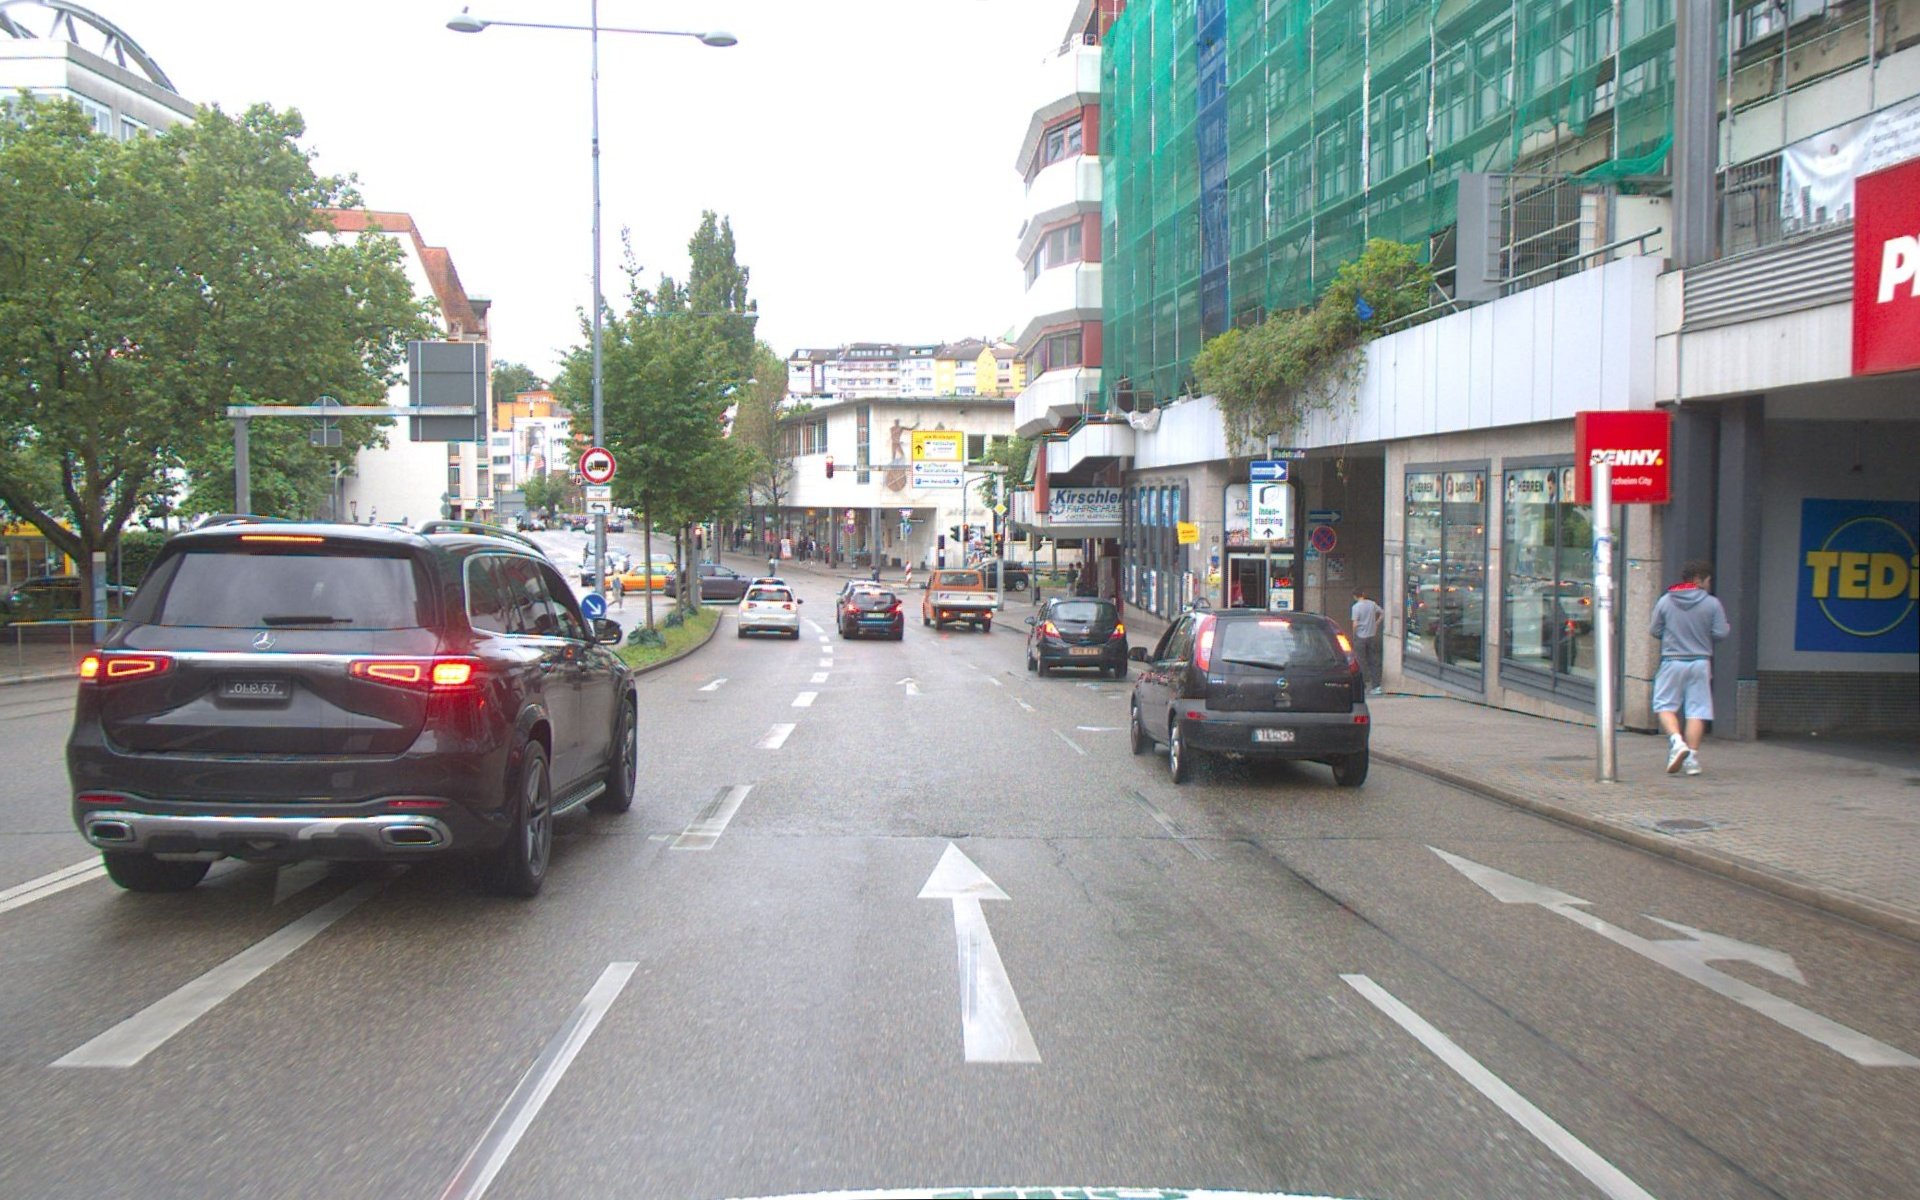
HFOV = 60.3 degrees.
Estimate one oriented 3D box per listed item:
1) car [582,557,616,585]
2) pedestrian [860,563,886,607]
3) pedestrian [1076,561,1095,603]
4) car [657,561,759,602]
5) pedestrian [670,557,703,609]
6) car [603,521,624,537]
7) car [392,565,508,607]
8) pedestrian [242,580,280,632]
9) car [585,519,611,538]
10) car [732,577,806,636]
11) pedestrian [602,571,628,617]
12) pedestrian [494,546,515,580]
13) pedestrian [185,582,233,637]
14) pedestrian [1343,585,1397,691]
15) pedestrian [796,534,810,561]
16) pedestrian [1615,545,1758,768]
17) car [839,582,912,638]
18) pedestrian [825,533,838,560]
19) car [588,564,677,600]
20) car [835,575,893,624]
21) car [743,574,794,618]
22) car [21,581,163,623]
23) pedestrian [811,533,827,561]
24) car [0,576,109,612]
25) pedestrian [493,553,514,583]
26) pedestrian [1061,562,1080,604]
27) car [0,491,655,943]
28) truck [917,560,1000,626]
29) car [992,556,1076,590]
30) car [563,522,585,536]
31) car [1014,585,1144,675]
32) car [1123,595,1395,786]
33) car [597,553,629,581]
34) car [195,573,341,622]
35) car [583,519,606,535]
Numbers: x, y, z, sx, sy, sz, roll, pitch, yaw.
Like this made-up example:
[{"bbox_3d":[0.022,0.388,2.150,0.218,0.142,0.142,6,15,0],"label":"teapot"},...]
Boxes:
[{"bbox_3d":[-19.042,-1.530,87.320,1.676,1.476,3.851,0,1,-11],"label":"car"},{"bbox_3d":[-3.498,-0.608,66.494,0.989,1.752,0.838,-1,1,0],"label":"pedestrian"},{"bbox_3d":[5.223,-0.758,69.041,0.567,1.729,0.647,-1,1,-18],"label":"pedestrian"},{"bbox_3d":[-10.616,-0.763,69.622,4.082,1.686,1.833,0,0,-17],"label":"car"},{"bbox_3d":[-10.330,-0.648,62.516,1.041,1.914,0.838,-1,1,2],"label":"pedestrian"},{"bbox_3d":[-38.971,-7.975,185.970,1.803,1.616,3.854,0,1,-18],"label":"car"},{"bbox_3d":[-21.484,-0.584,69.713,4.611,1.672,1.777,1,0,-19],"label":"car"},{"bbox_3d":[-24.338,0.201,57.637,0.929,1.752,0.760,-1,1,5],"label":"pedestrian"},{"bbox_3d":[-42.183,-8.305,192.740,1.970,2.049,3.965,0,1,-27],"label":"car"},{"bbox_3d":[-5.426,0.147,47.371,1.911,1.601,3.997,0,1,-4],"label":"car"},{"bbox_3d":[-13.276,-0.250,63.658,0.819,1.752,0.818,-1,1,-2],"label":"pedestrian"},{"bbox_3d":[-25.158,-2.048,91.430,0.617,1.834,0.899,-1,1,45],"label":"pedestrian"},{"bbox_3d":[-24.902,0.307,54.867,0.929,1.752,1.016,-2,3,18],"label":"pedestrian"},{"bbox_3d":[6.630,0.611,26.742,0.631,1.678,0.560,-2,0,38],"label":"pedestrian"},{"bbox_3d":[-10.754,-3.609,113.354,0.786,1.834,0.913,-1,1,-19],"label":"pedestrian"},{"bbox_3d":[5.911,0.442,13.500,0.818,1.752,0.830,-1,1,4],"label":"pedestrian"},{"bbox_3d":[-2.524,0.275,48.726,1.778,1.466,3.993,1,1,-8],"label":"car"},{"bbox_3d":[-8.800,-3.663,113.286,0.691,1.834,0.934,-1,1,-19],"label":"pedestrian"},{"bbox_3d":[-15.200,-0.828,76.738,3.932,1.645,1.767,0,0,-16],"label":"car"},{"bbox_3d":[-3.352,-0.036,57.171,1.727,1.569,3.995,0,2,-7],"label":"car"},{"bbox_3d":[-6.816,-0.157,58.809,1.760,1.494,3.994,0,1,-7],"label":"car"},{"bbox_3d":[-34.172,0.082,65.218,4.623,1.619,1.991,0,0,-17],"label":"car"},{"bbox_3d":[-9.595,-3.618,112.857,0.833,1.834,1.050,-1,1,-19],"label":"pedestrian"},{"bbox_3d":[-34.376,-0.228,62.546,3.622,1.310,1.631,0,0,-17],"label":"car"},{"bbox_3d":[-24.805,-1.734,89.951,0.554,1.636,0.919,-1,1,45],"label":"pedestrian"},{"bbox_3d":[4.602,-0.697,68.750,0.566,1.729,0.648,-1,1,-14],"label":"pedestrian"},{"bbox_3d":[-3.103,0.466,9.380,2.046,1.848,4.790,2,1,-3],"label":"car"},{"bbox_3d":[-0.112,-0.278,55.675,2.142,2.119,5.594,0,1,-7],"label":"truck"},{"bbox_3d":[3.649,-1.306,81.590,3.759,1.645,1.765,0,0,-20],"label":"car"},{"bbox_3d":[-44.553,-8.180,190.939,1.728,1.581,3.538,0,1,-27],"label":"car"},{"bbox_3d":[2.223,0.525,31.845,1.912,1.601,3.997,0,1,-5],"label":"car"},{"bbox_3d":[2.524,0.701,14.795,1.682,1.445,3.769,1,1,-1],"label":"car"},{"bbox_3d":[-19.952,-1.893,94.911,1.747,1.576,3.987,0,1,-13],"label":"car"},{"bbox_3d":[-26.979,-0.107,64.648,4.990,1.790,1.991,1,0,-17],"label":"car"},{"bbox_3d":[-39.253,-7.840,177.629,1.964,1.624,3.977,0,1,-20],"label":"car"}]
